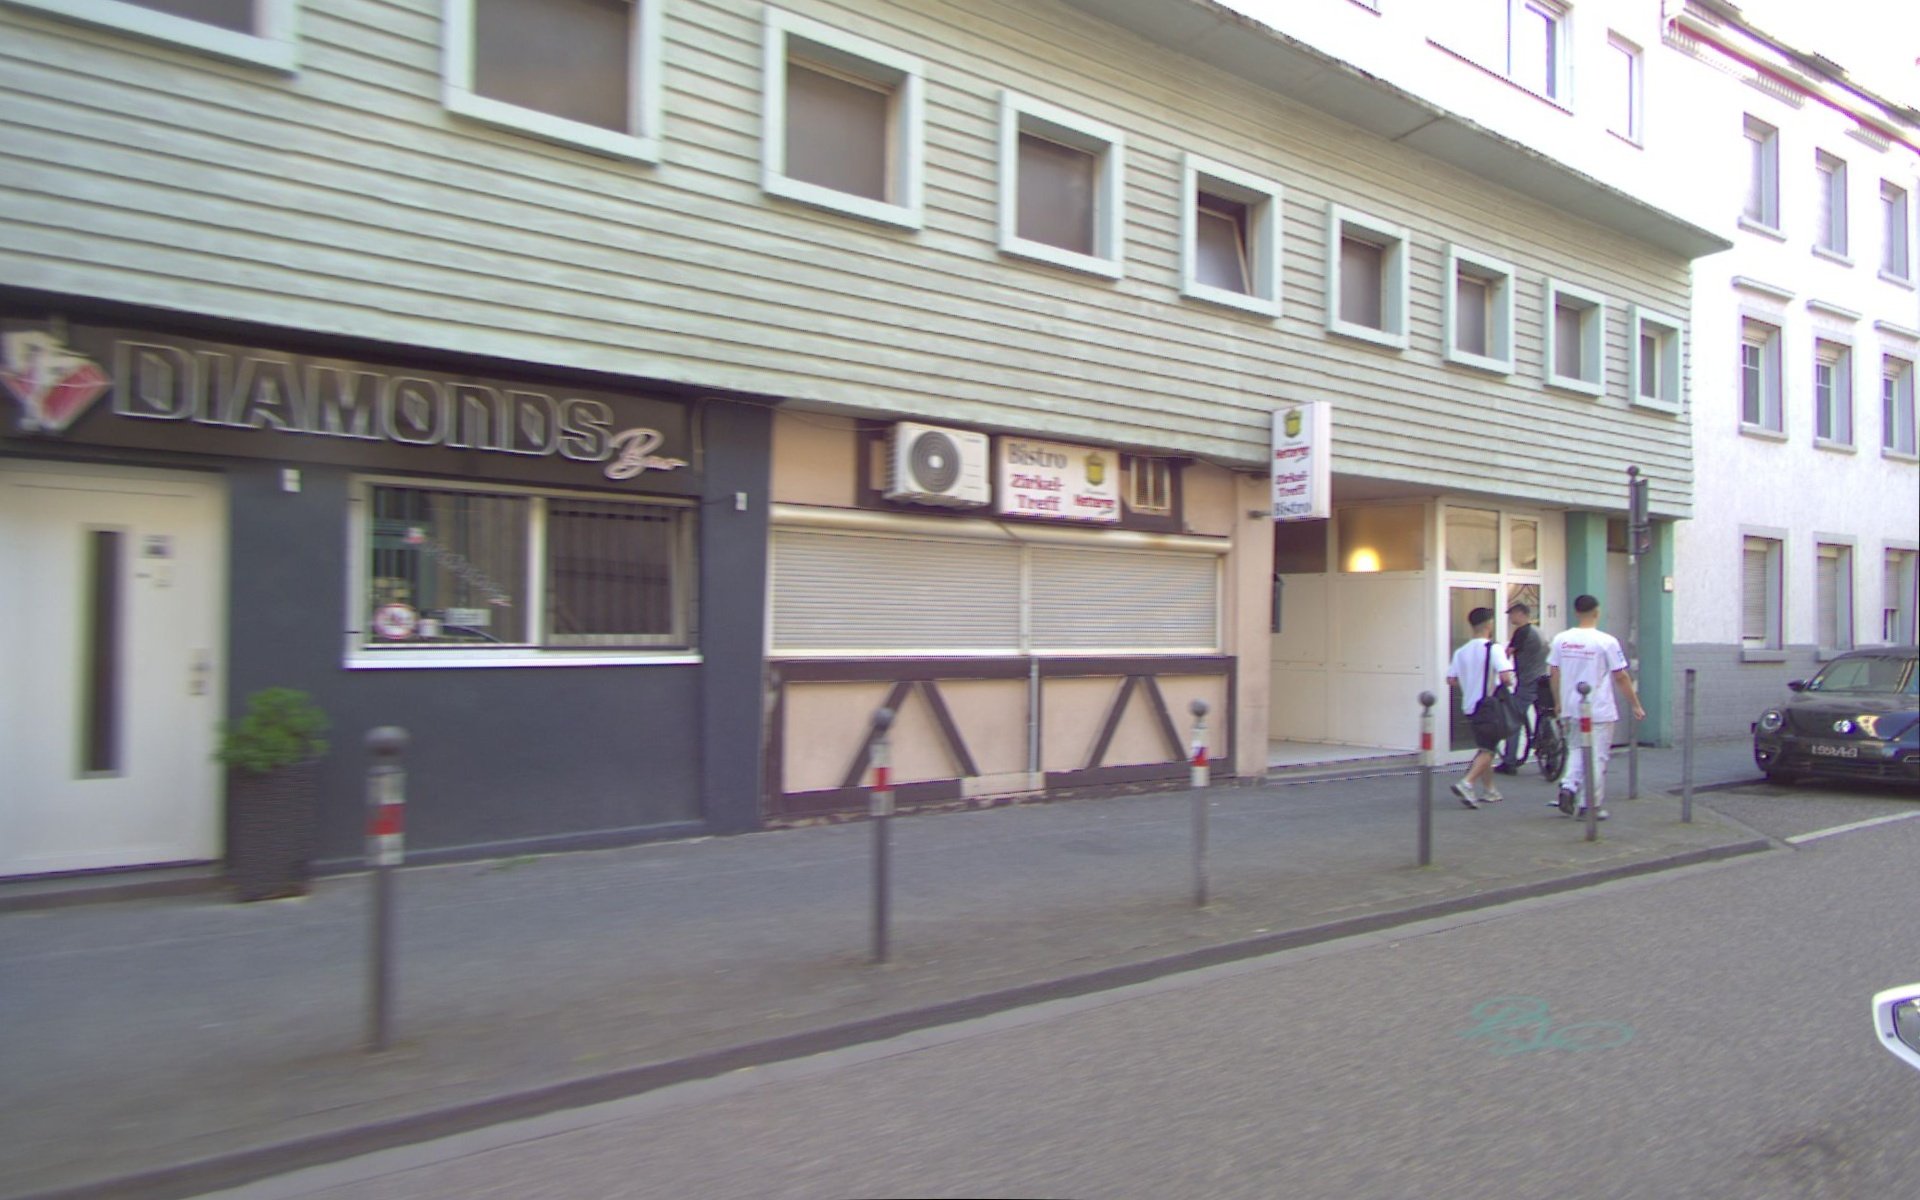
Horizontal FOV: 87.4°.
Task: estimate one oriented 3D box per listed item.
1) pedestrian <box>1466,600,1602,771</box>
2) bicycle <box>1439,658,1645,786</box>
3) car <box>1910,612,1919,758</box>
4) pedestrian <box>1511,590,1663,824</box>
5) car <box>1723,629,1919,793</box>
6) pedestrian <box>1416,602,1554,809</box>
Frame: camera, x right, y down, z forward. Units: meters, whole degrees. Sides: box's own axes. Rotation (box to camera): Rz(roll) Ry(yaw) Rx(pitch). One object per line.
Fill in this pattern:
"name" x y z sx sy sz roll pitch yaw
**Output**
"pedestrian" 6.172 0.896 10.868 0.787 1.751 1.080 0 -1 -7
"bicycle" 6.173 1.241 10.828 0.808 1.178 2.133 0 -2 -7
"car" 15.029 1.095 13.452 4.803 1.891 1.873 1 -4 -28
"pedestrian" 5.025 0.827 8.063 0.819 1.757 0.695 1 -3 -29
"car" 10.303 1.112 10.866 4.028 1.505 1.811 1 -4 -30
"pedestrian" 4.563 0.880 8.742 0.884 1.691 0.670 1 -2 -29
